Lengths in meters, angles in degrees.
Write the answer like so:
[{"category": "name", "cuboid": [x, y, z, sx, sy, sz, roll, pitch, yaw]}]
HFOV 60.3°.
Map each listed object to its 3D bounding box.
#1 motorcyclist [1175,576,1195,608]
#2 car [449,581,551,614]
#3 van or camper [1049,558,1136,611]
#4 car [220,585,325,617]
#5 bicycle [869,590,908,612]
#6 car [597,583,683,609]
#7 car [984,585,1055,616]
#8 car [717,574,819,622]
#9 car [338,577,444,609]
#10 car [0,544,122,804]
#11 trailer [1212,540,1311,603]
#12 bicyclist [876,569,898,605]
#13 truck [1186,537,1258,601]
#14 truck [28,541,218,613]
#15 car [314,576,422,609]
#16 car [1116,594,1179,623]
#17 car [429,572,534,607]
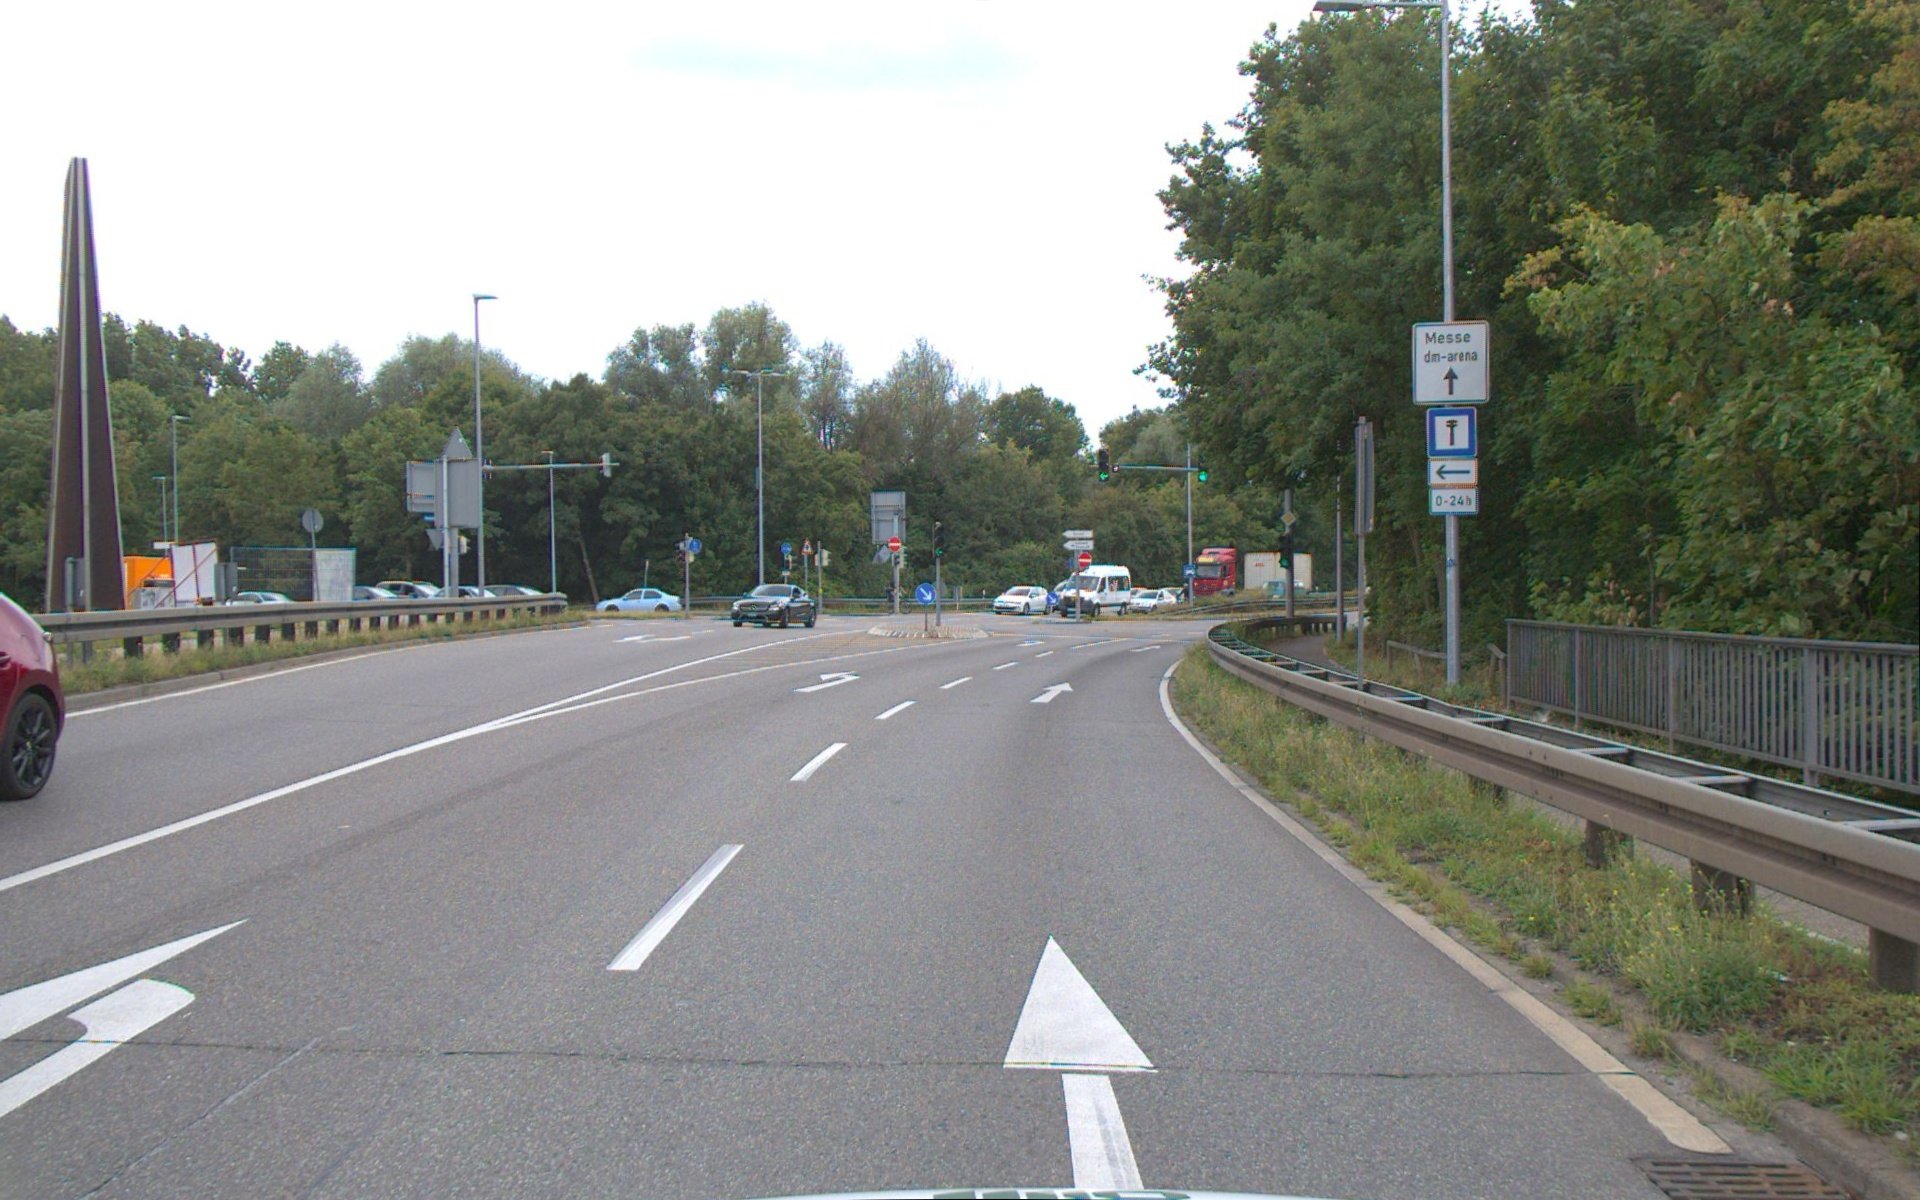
[{"category": "motorcyclist", "cuboid": [13.119, -0.465, 96.296, 0.849, 1.855, 0.924, 1, 0, 29]}, {"category": "car", "cuboid": [-20.040, -0.129, 72.092, 3.978, 1.333, 1.998, 1, 1, 26]}, {"category": "van or camper", "cuboid": [6.999, -0.802, 86.797, 2.119, 2.634, 6.486, 1, 1, 28]}, {"category": "car", "cuboid": [-30.712, 0.045, 73.903, 4.238, 1.333, 1.998, 1, 1, 26]}, {"category": "bicycle", "cuboid": [-3.518, 0.051, 81.215, 1.905, 1.071, 0.705, -1, -1, 35]}, {"category": "car", "cuboid": [-16.222, -0.197, 84.051, 4.131, 1.226, 1.996, 1, 0, -8]}, {"category": "car", "cuboid": [3.143, 0.014, 86.521, 1.955, 1.574, 4.533, 1, 1, 27]}, {"category": "car", "cuboid": [-6.227, -0.088, 54.138, 1.951, 1.481, 4.658, 1, 1, 12]}, {"category": "car", "cuboid": [-26.005, -0.325, 75.573, 4.470, 1.333, 1.998, 1, 1, 26]}, {"category": "car", "cuboid": [-6.334, 0.418, 8.663, 1.760, 1.497, 4.632, 1, 1, -4]}, {"category": "trailer", "cuboid": [21.148, -1.922, 115.323, 2.492, 4.219, 10.734, 1, 1, 35]}, {"category": "bicyclist", "cuboid": [-3.575, -0.652, 81.275, 0.730, 1.765, 0.798, -1, -1, 36]}, {"category": "truck", "cuboid": [17.457, -2.021, 109.963, 2.525, 4.154, 5.602, 1, 0, 35]}, {"category": "truck", "cuboid": [-39.528, -1.118, 78.036, 9.062, 3.190, 2.970, 1, 0, 25]}, {"category": "car", "cuboid": [-25.590, -0.338, 71.496, 4.238, 1.333, 1.998, 1, 1, 26]}, {"category": "car", "cuboid": [10.576, 0.469, 92.861, 1.956, 1.524, 4.392, 1, 1, 29]}, {"category": "car", "cuboid": [-19.512, -0.422, 67.446, 3.719, 1.333, 1.998, 1, 1, 26]}]
